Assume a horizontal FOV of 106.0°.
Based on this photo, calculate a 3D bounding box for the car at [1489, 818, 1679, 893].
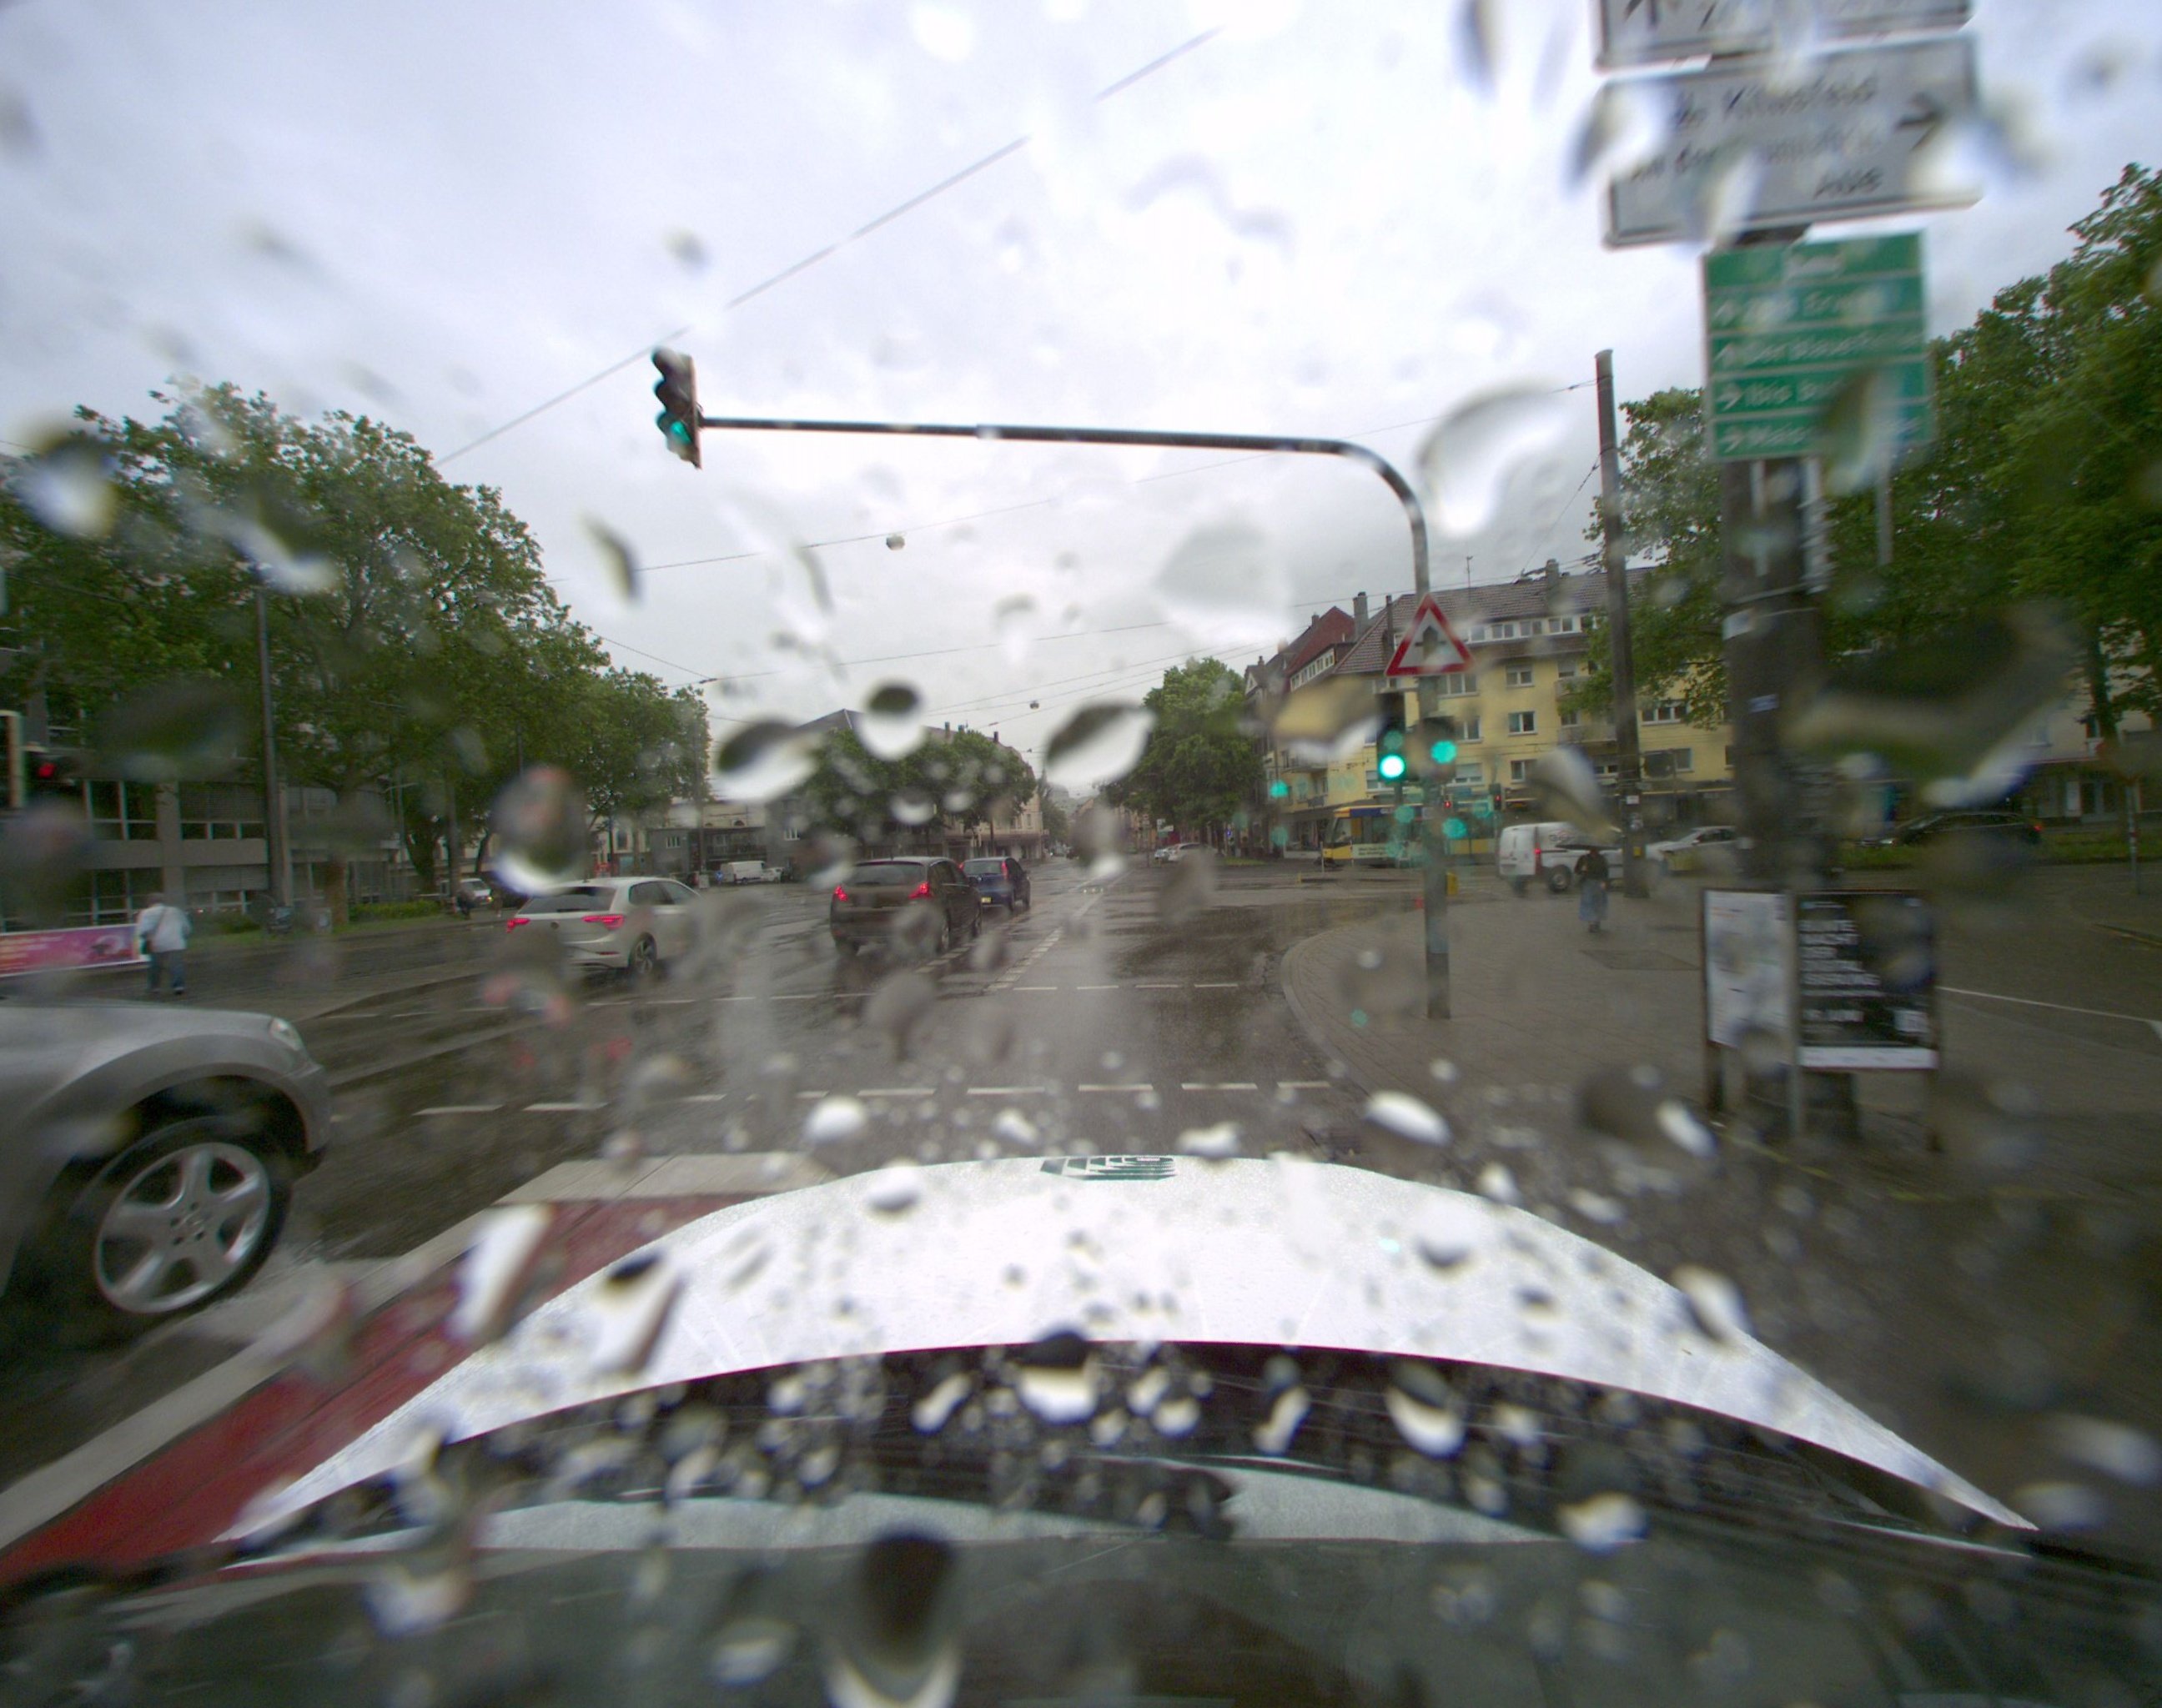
[{"bbox_3d":[13.443,0.000,21.894,4.098,1.797,1.904,-2,1,-9],"label":"car"}]

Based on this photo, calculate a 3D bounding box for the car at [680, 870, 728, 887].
[{"bbox_3d":[-37.943,2.499,82.062,1.975,1.614,4.023,-2,-2,25],"label":"car"}]

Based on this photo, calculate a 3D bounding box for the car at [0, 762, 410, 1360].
[{"bbox_3d":[-3.946,0.607,1.233,1.902,1.646,4.680,-2,1,0],"label":"car"}]

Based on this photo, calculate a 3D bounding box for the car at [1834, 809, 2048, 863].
[{"bbox_3d":[28.473,-0.596,27.144,4.591,1.485,1.870,-3,1,14],"label":"car"}]

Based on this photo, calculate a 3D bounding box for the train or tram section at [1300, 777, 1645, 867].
[{"bbox_3d":[17.998,-1.418,38.503,14.453,3.558,3.122,-2,0,6],"label":"train or tram section"}]

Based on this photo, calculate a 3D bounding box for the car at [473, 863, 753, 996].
[{"bbox_3d":[-6.871,1.000,12.584,1.800,1.536,4.191,-3,1,0],"label":"car"}]

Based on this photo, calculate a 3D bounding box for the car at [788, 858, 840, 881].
[{"bbox_3d":[-25.415,1.460,77.602,2.041,2.013,4.426,-1,1,30],"label":"car"}]

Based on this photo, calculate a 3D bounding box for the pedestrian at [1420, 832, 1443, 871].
[{"bbox_3d":[15.502,-0.114,36.027,0.804,1.677,1.023,-2,0,27],"label":"pedestrian"}]

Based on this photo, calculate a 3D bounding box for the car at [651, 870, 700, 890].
[{"bbox_3d":[-41.824,2.684,84.072,1.974,2.014,4.025,-1,-1,30],"label":"car"}]

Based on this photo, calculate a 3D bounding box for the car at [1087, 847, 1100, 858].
[{"bbox_3d":[2.108,-0.279,137.948,1.987,1.688,3.999,-1,-1,0],"label":"car"}]

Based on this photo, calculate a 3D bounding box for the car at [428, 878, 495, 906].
[{"bbox_3d":[-42.666,2.617,56.085,3.950,1.772,2.017,-2,0,26],"label":"car"}]

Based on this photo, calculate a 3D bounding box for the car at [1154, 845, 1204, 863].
[{"bbox_3d":[9.816,-0.014,81.410,4.539,1.556,2.011,-3,1,23],"label":"car"}]

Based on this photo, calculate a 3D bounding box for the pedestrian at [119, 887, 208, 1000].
[{"bbox_3d":[-14.180,1.350,12.609,0.739,1.610,0.709,-3,1,-38],"label":"pedestrian"}]

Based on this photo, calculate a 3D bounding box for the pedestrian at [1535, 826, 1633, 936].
[{"bbox_3d":[8.119,0.403,13.153,1.003,1.666,1.092,-2,1,-43],"label":"pedestrian"}]

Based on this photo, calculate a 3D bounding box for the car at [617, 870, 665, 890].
[{"bbox_3d":[-47.342,2.776,87.682,1.974,1.763,4.026,-3,1,31],"label":"car"}]

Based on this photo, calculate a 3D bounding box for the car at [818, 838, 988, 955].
[{"bbox_3d":[-2.918,0.610,14.325,1.794,1.709,4.195,-2,1,3],"label":"car"}]

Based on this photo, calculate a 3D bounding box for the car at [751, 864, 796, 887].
[{"bbox_3d":[-30.084,2.060,79.897,1.978,2.013,4.018,-2,1,17],"label":"car"}]

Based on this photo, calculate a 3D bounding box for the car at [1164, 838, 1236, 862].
[{"bbox_3d":[8.979,-0.309,61.584,4.970,1.474,1.995,-3,1,-8],"label":"car"}]

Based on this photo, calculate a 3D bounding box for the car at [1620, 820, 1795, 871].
[{"bbox_3d":[21.595,-0.307,28.242,4.454,1.489,1.747,-3,1,13],"label":"car"}]

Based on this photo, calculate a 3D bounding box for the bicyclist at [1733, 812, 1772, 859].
[{"bbox_3d":[25.342,-0.694,30.745,0.881,1.716,0.716,-1,0,11],"label":"bicyclist"}]

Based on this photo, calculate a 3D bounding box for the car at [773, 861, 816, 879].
[{"bbox_3d":[-27.924,1.545,79.523,1.906,1.618,4.018,-2,1,17],"label":"car"}]

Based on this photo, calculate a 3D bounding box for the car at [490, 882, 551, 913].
[{"bbox_3d":[-36.567,2.804,53.131,3.948,1.771,1.815,-2,2,33],"label":"car"}]

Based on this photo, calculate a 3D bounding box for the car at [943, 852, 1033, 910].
[{"bbox_3d":[-2.496,0.765,22.816,1.875,1.459,3.833,-2,-2,3],"label":"car"}]

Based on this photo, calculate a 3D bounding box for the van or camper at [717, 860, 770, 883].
[{"bbox_3d":[-33.128,1.666,80.004,1.976,2.075,4.681,-2,-1,24],"label":"van or camper"}]

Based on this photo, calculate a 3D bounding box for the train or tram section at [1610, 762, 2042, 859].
[{"bbox_3d":[32.257,-1.791,36.125,14.527,3.558,3.127,-2,1,12],"label":"train or tram section"}]

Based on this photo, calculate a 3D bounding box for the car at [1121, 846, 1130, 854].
[{"bbox_3d":[8.114,-0.779,148.588,1.470,1.363,3.462,-1,-1,1],"label":"car"}]

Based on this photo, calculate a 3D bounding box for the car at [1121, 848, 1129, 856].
[{"bbox_3d":[8.316,-0.398,155.082,1.470,1.363,3.462,-1,-1,1],"label":"car"}]
